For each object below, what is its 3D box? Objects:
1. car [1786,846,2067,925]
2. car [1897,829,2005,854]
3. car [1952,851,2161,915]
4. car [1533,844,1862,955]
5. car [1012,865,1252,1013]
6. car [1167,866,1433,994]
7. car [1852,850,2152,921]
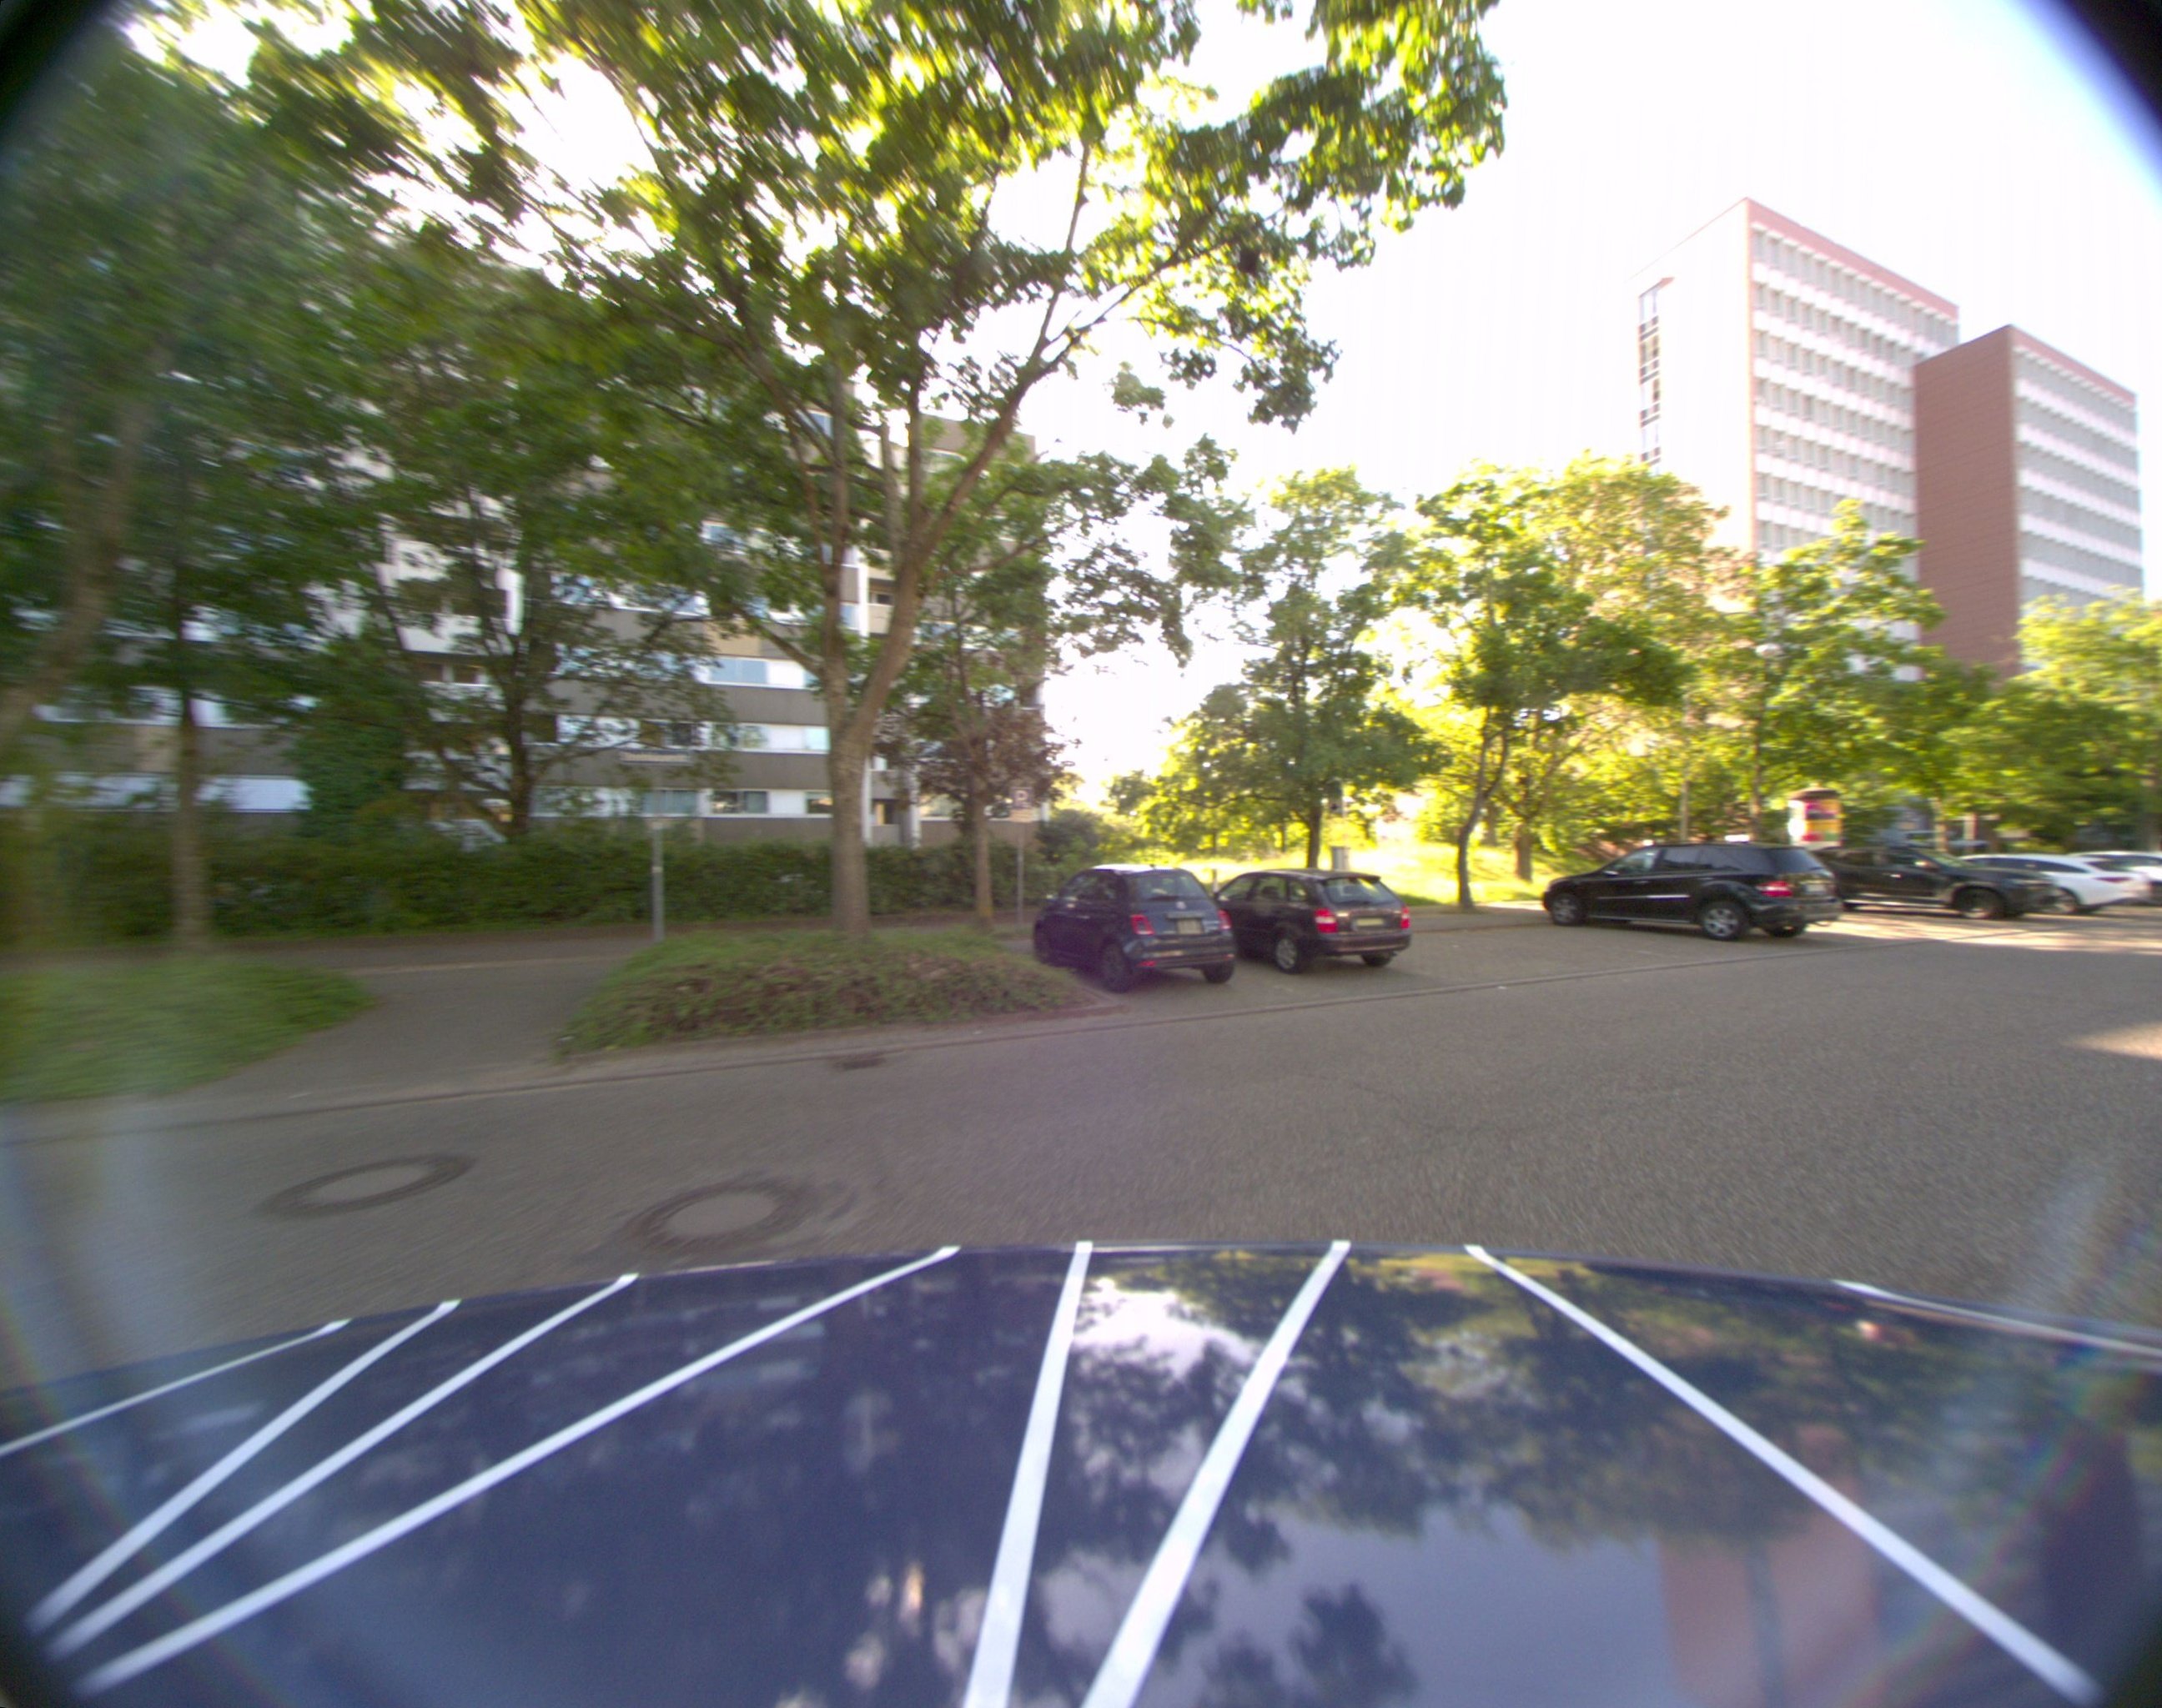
[{"bbox_3d":[19.837,0.639,18.085,1.735,1.609,4.123,-2,2,-24],"label":"car"},{"bbox_3d":[61.644,-0.854,53.938,1.878,1.676,4.721,-1,0,-26],"label":"car"},{"bbox_3d":[28.444,0.761,21.632,1.839,1.584,4.431,-1,2,-24],"label":"car"},{"bbox_3d":[11.621,0.707,14.805,2.002,1.769,4.593,-1,1,-21],"label":"car"},{"bbox_3d":[0.490,0.973,10.523,1.703,1.490,3.812,-1,2,-25],"label":"car"},{"bbox_3d":[3.067,0.975,11.582,1.824,1.379,3.991,-1,2,-22],"label":"car"},{"bbox_3d":[22.821,0.752,19.092,1.819,1.535,4.449,-1,-1,-24],"label":"car"}]
